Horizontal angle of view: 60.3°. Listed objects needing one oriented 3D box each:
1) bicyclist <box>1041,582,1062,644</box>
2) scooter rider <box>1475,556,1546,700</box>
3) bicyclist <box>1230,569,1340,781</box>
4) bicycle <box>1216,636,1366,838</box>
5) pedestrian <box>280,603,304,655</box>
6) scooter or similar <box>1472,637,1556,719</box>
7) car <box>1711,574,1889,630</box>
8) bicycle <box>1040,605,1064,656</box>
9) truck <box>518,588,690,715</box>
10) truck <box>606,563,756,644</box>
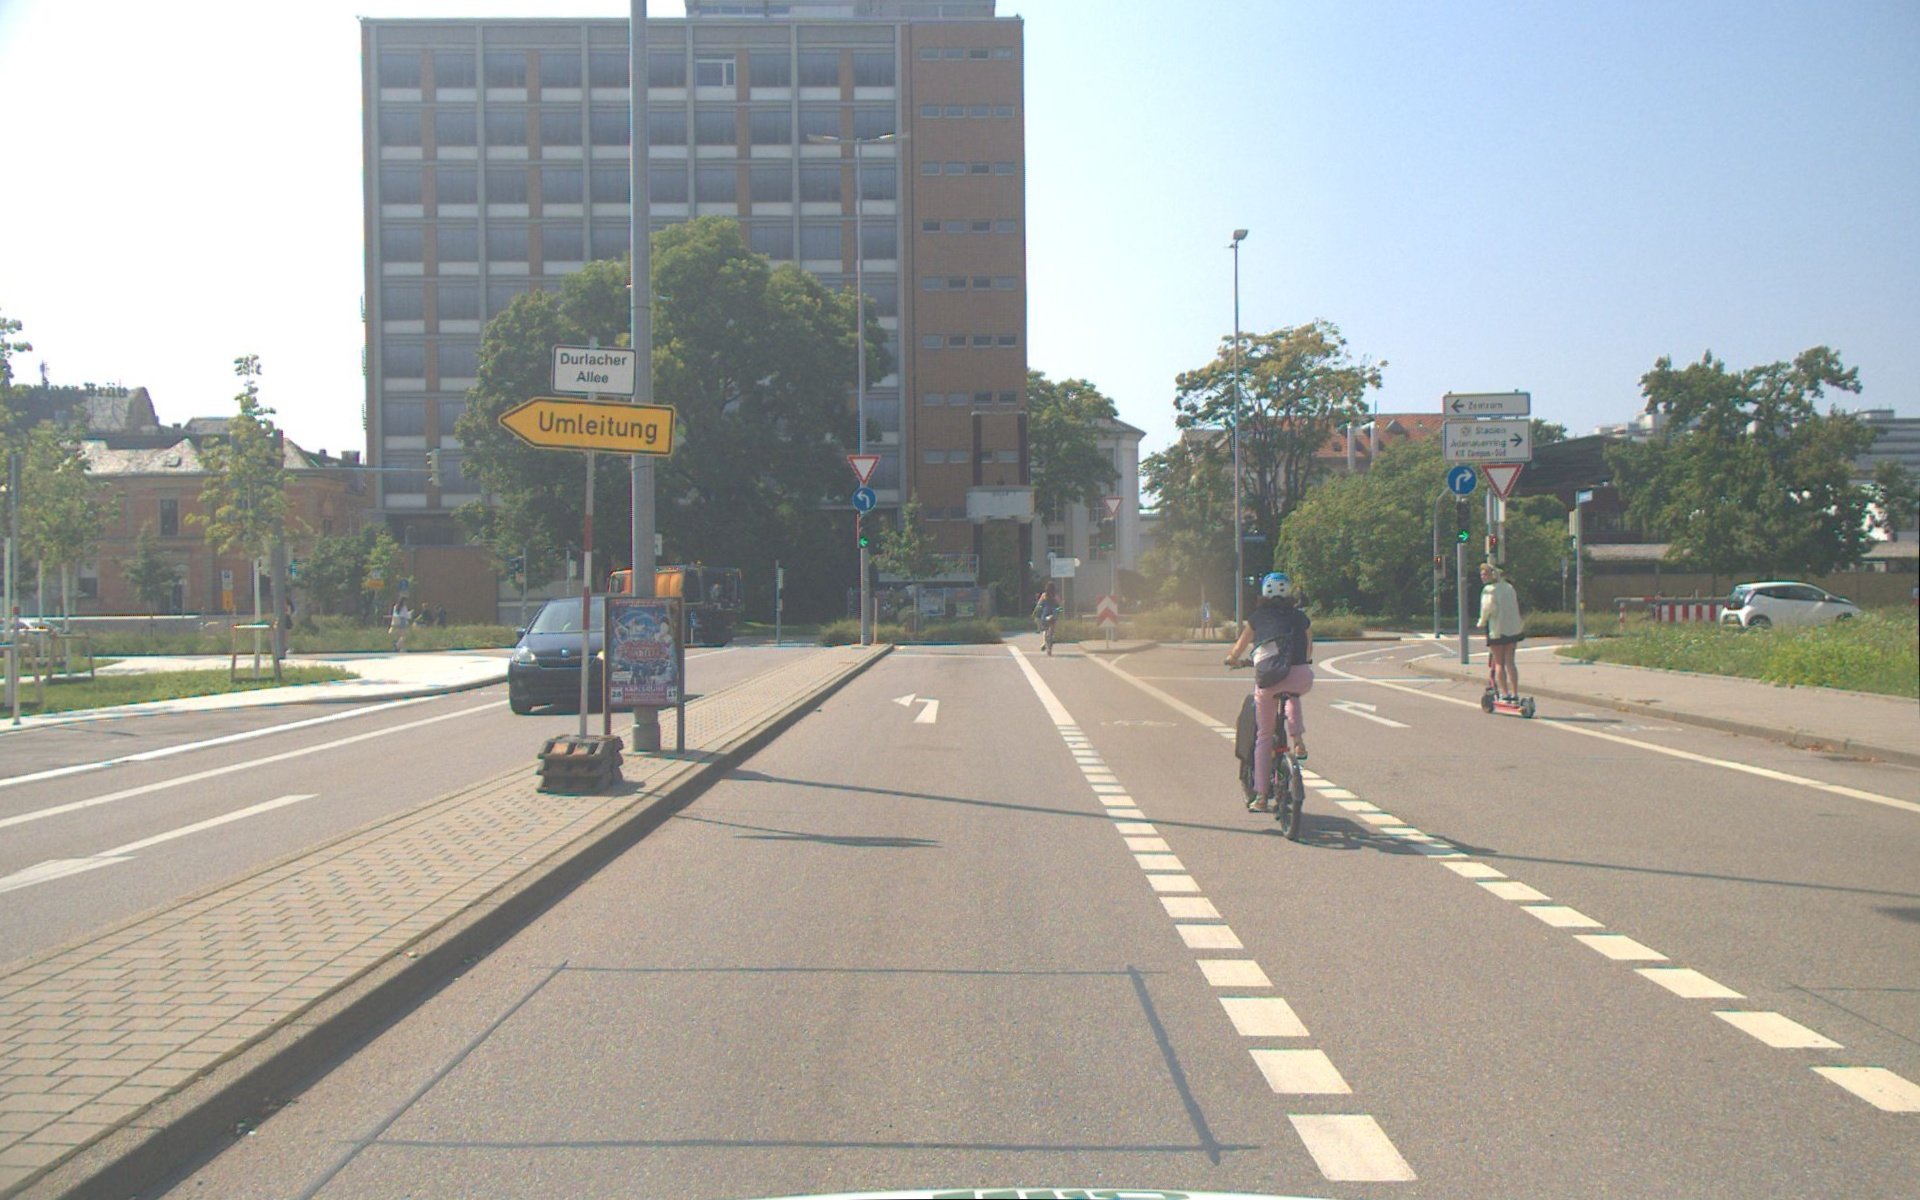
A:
[{"bbox_3d":[2.139,0.304,38.748,0.440,1.446,0.495,-1,0,-1],"label":"bicyclist"},{"bbox_3d":[7.005,0.352,21.071,0.745,1.806,0.555,-1,0,9],"label":"scooter rider"},{"bbox_3d":[2.151,0.481,11.003,0.590,1.358,0.660,-1,0,0],"label":"bicyclist"},{"bbox_3d":[2.171,0.860,11.047,0.592,1.183,1.810,-1,0,-1],"label":"bicycle"},{"bbox_3d":[-20.589,0.885,50.990,0.410,1.579,0.528,-1,0,44],"label":"pedestrian"},{"bbox_3d":[6.997,0.966,20.952,0.755,0.943,1.622,0,0,9],"label":"scooter or similar"},{"bbox_3d":[22.779,0.048,44.959,3.903,1.416,1.849,-1,0,4],"label":"car"},{"bbox_3d":[2.146,0.697,38.531,0.435,1.136,1.446,-1,0,-1],"label":"bicycle"},{"bbox_3d":[-4.667,0.617,22.121,1.523,1.530,3.620,-1,0,-1],"label":"truck"},{"bbox_3d":[-11.093,0.151,65.511,5.852,3.042,2.693,-1,-1,38],"label":"truck"}]
